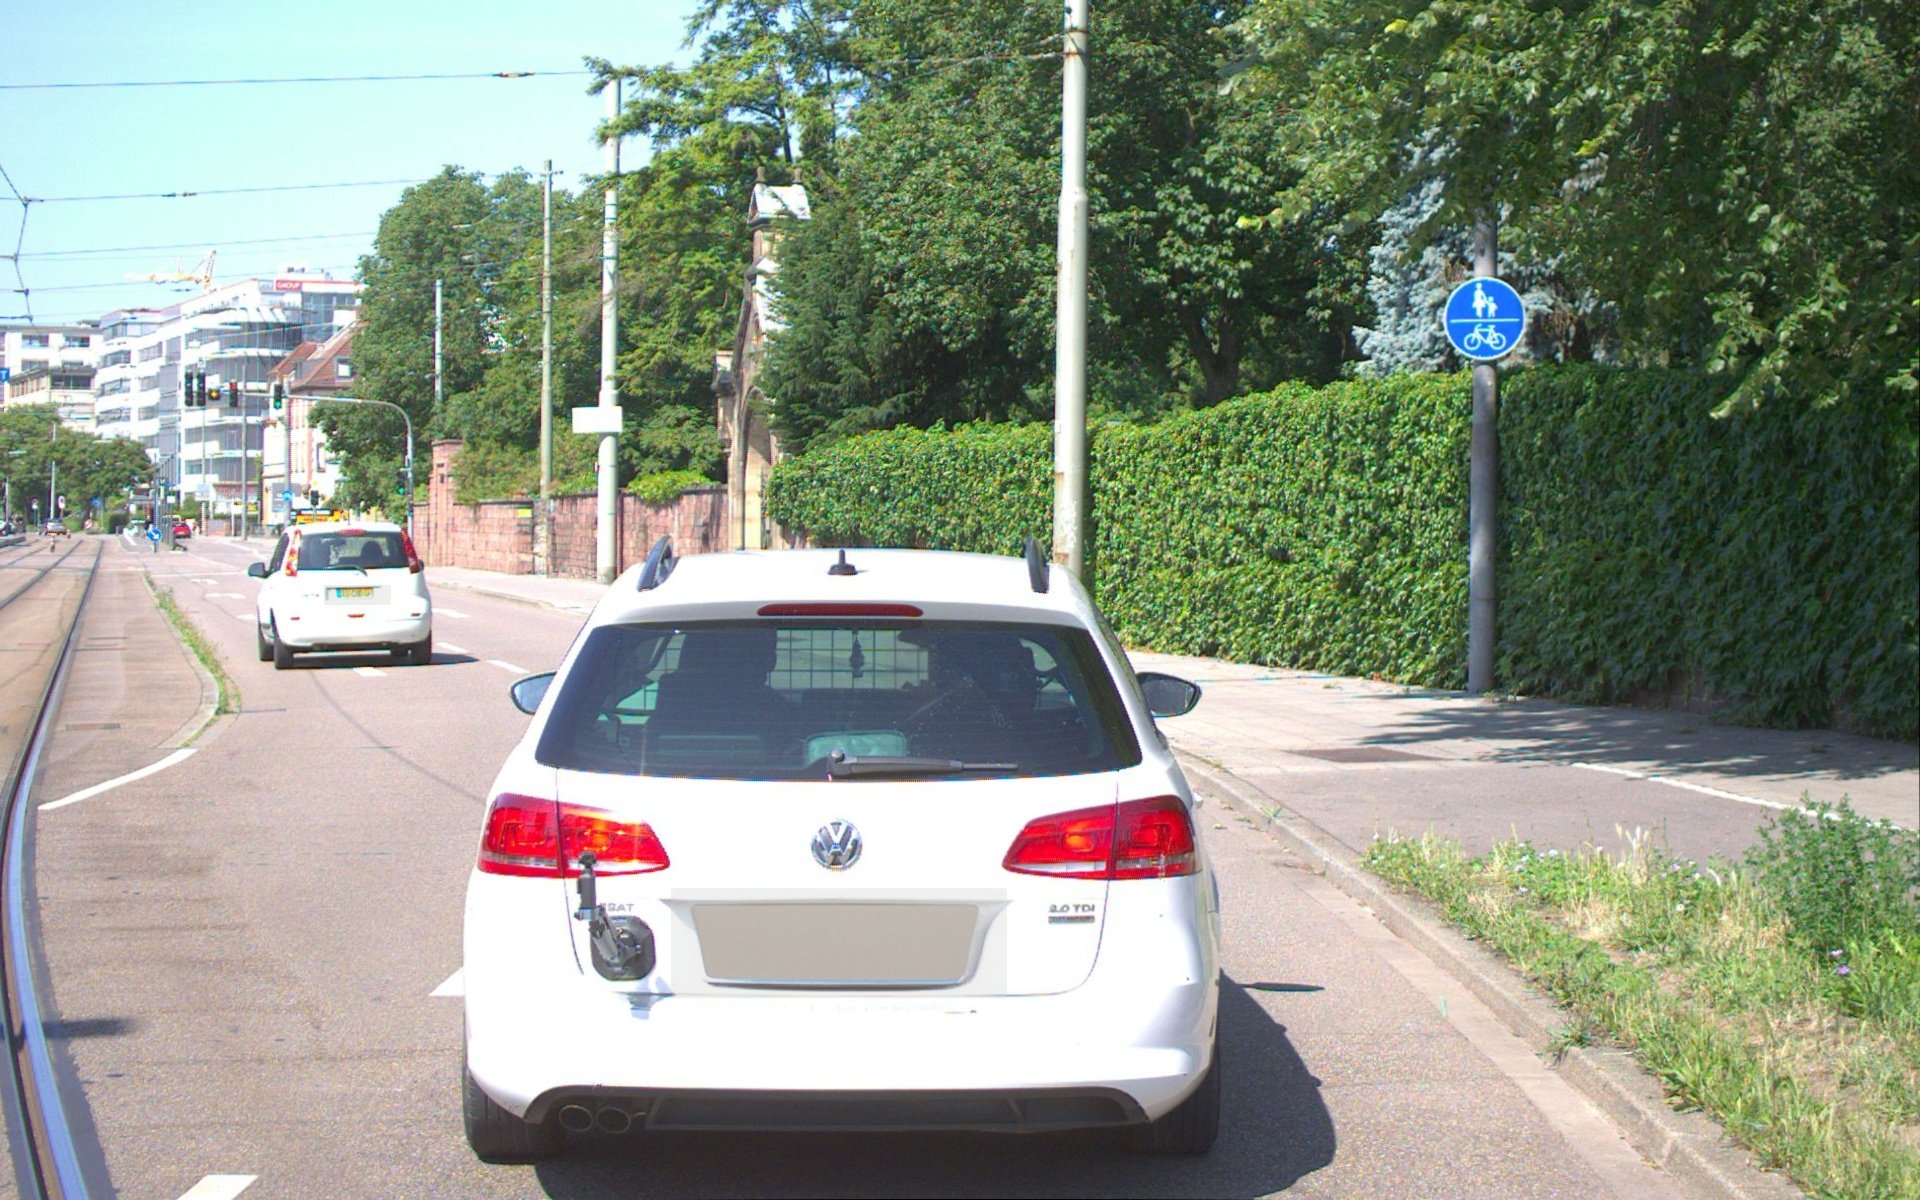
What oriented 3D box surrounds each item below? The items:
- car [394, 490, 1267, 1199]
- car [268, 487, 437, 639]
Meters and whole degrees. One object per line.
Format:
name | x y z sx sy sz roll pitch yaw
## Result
car | -0.316 0.461 8.952 1.778 1.485 3.847 0 2 -2
car | -6.667 -0.450 37.892 1.730 1.590 4.012 0 2 -9
